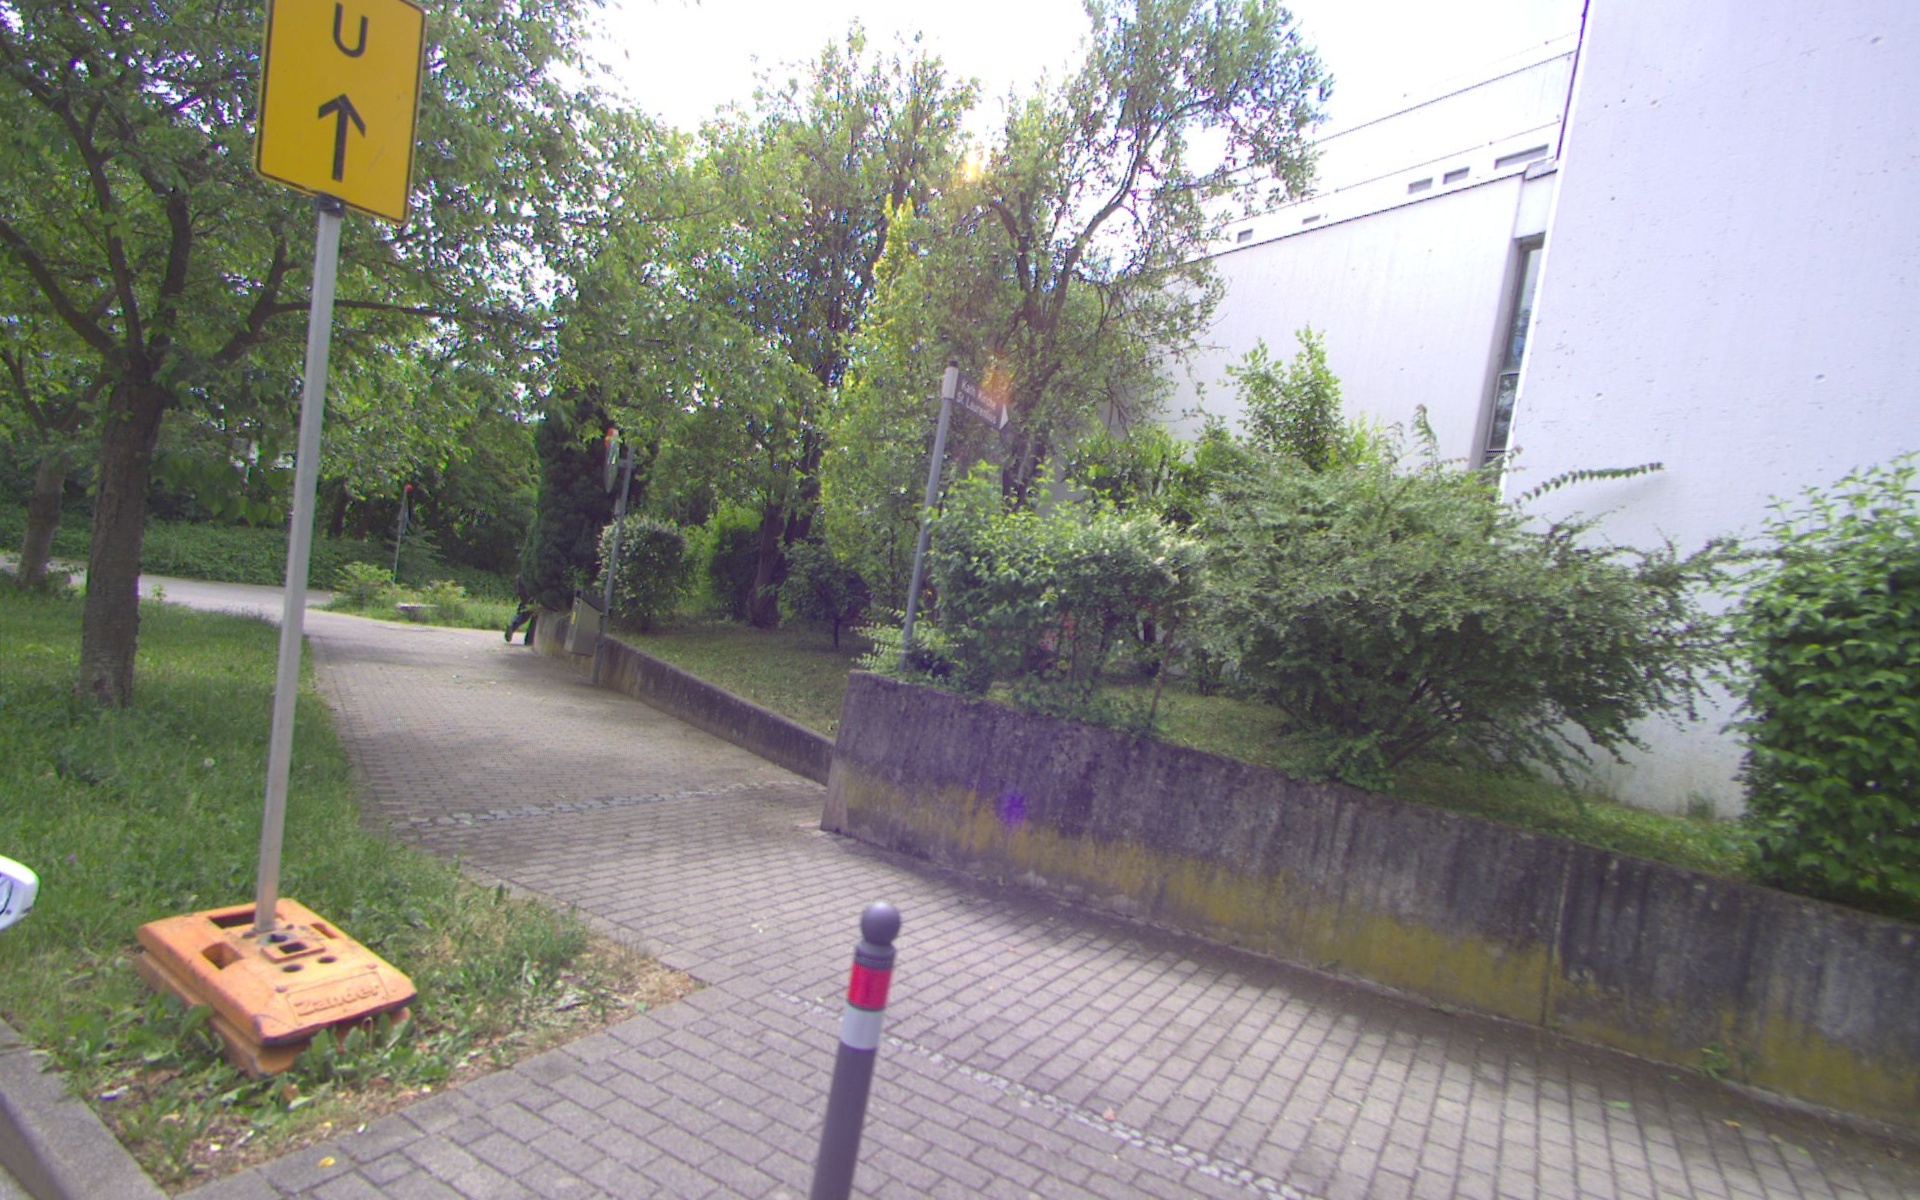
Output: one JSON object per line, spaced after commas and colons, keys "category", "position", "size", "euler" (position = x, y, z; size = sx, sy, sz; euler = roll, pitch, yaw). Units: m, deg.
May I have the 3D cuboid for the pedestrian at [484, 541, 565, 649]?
{"category": "pedestrian", "position": [-7.687, -0.079, 17.763], "size": [0.772, 1.757, 0.834], "euler": [7, -1, 28]}
